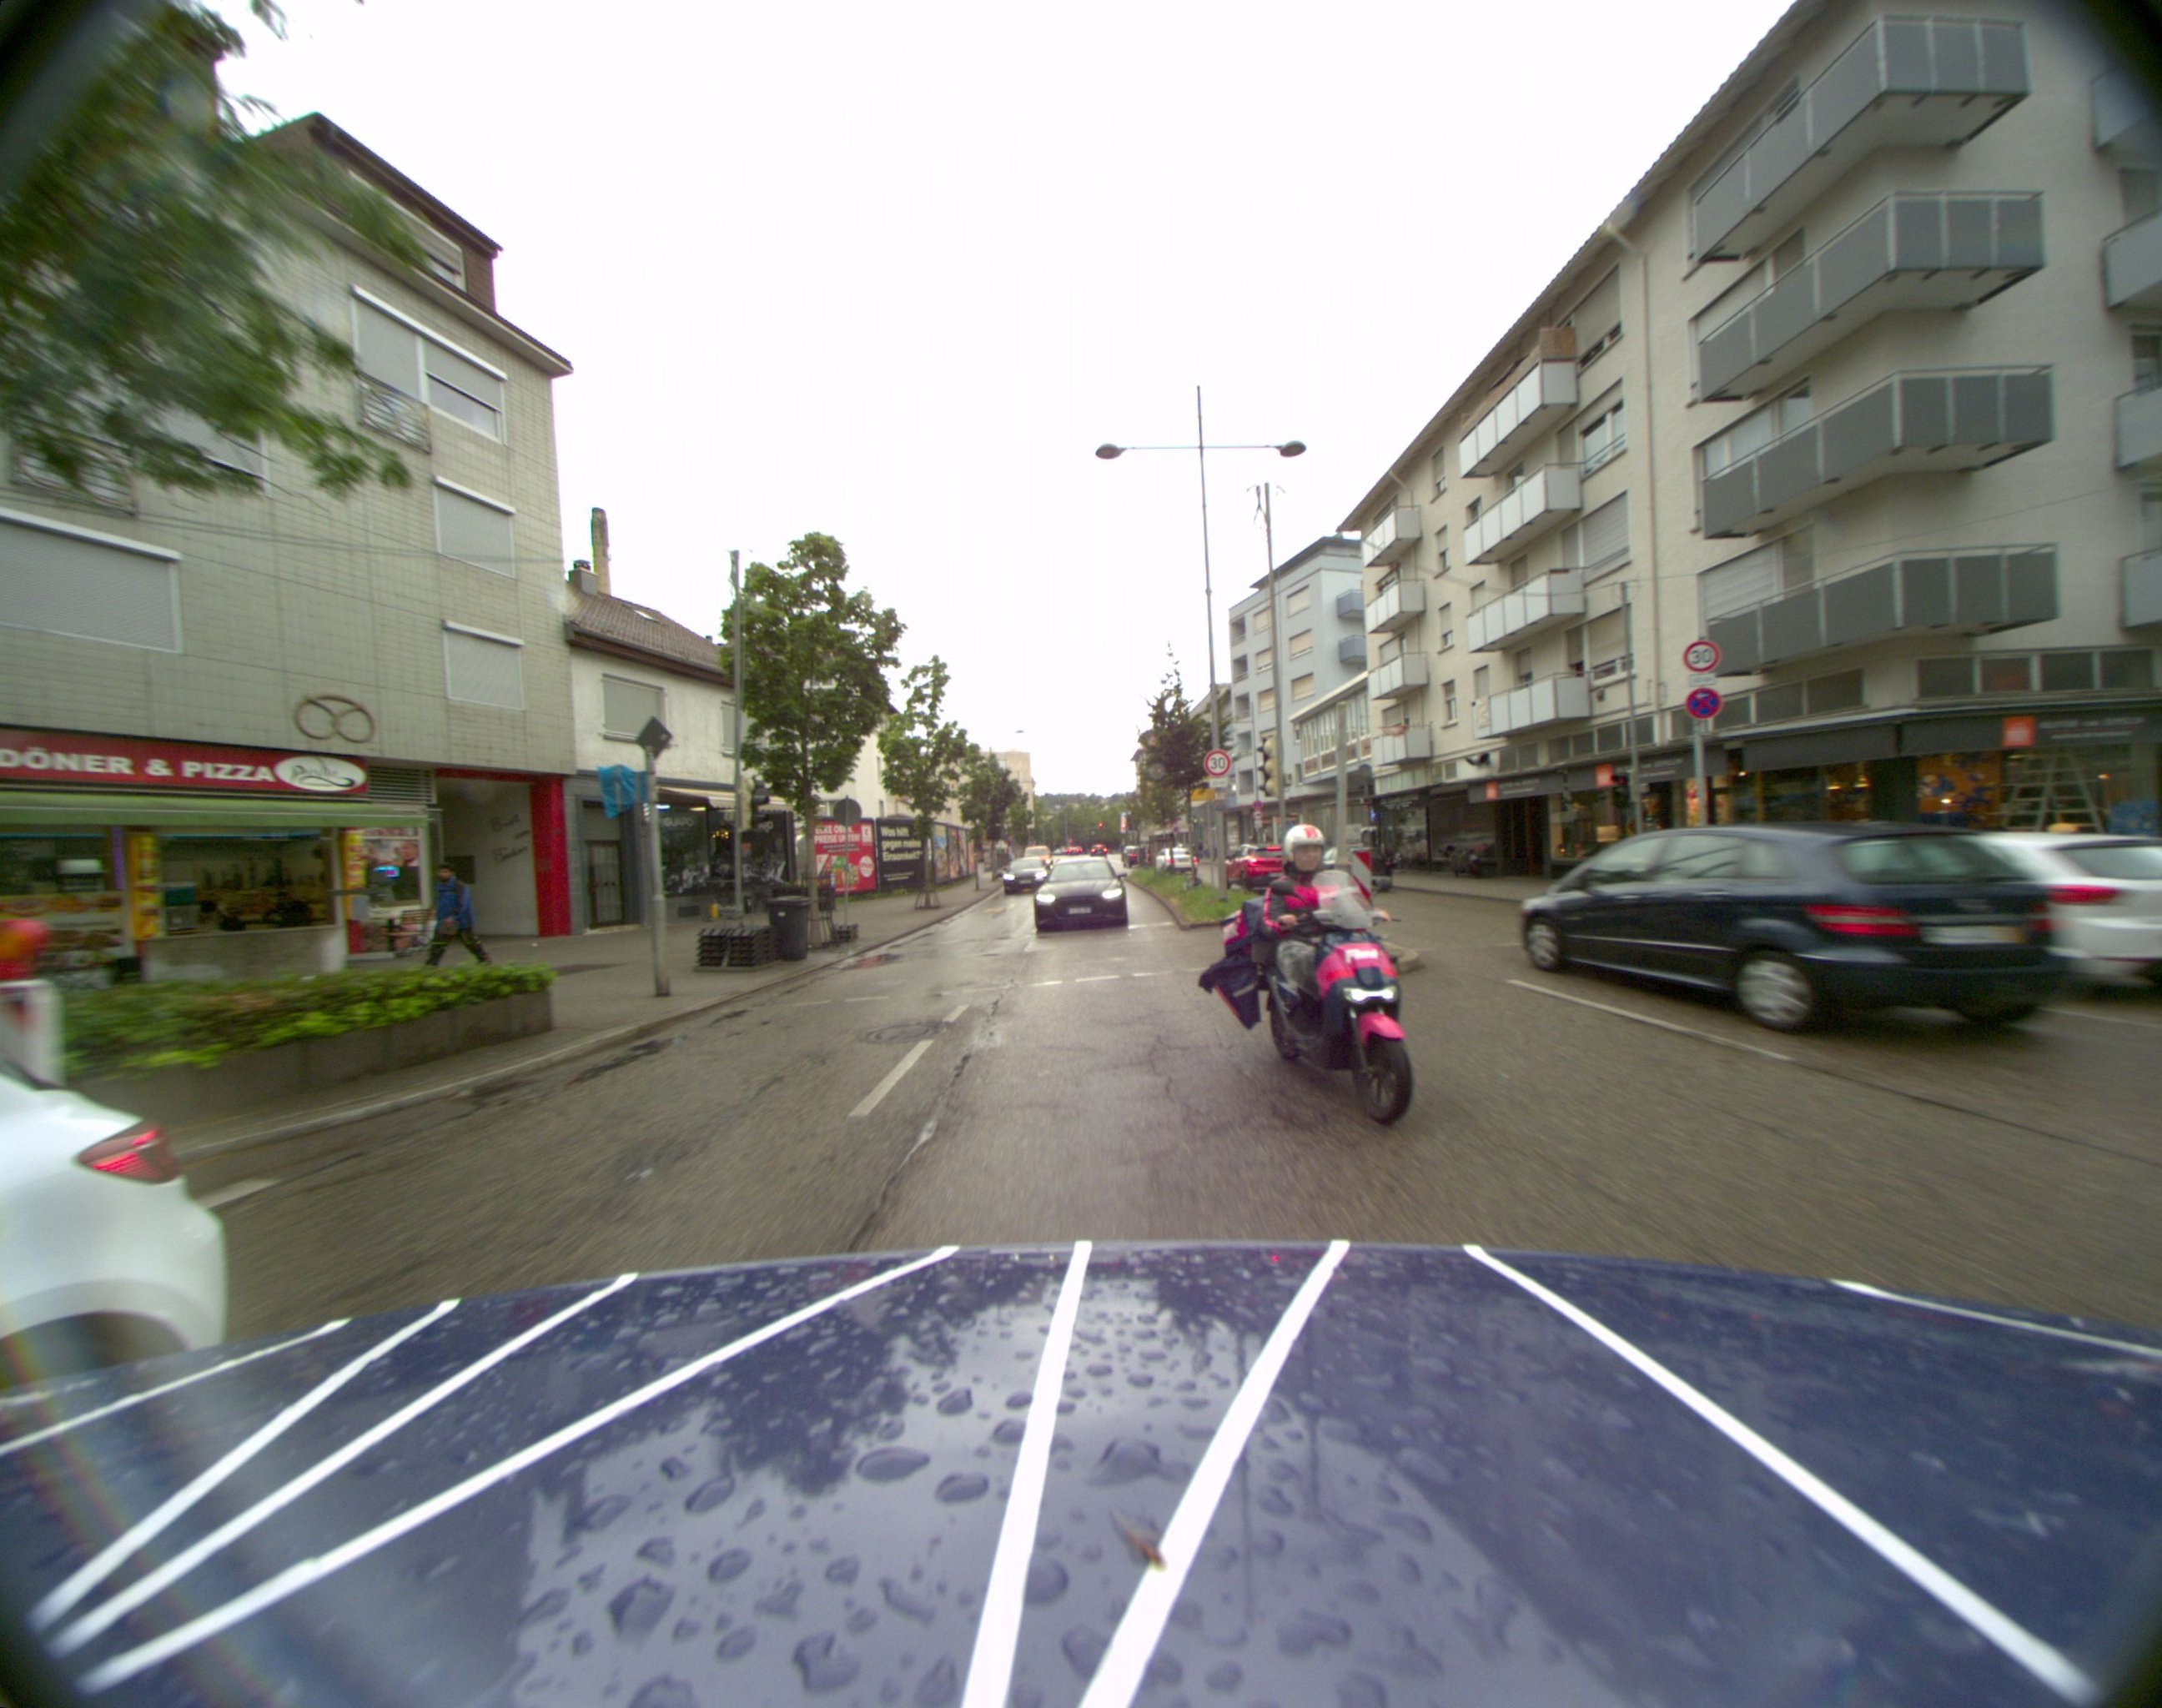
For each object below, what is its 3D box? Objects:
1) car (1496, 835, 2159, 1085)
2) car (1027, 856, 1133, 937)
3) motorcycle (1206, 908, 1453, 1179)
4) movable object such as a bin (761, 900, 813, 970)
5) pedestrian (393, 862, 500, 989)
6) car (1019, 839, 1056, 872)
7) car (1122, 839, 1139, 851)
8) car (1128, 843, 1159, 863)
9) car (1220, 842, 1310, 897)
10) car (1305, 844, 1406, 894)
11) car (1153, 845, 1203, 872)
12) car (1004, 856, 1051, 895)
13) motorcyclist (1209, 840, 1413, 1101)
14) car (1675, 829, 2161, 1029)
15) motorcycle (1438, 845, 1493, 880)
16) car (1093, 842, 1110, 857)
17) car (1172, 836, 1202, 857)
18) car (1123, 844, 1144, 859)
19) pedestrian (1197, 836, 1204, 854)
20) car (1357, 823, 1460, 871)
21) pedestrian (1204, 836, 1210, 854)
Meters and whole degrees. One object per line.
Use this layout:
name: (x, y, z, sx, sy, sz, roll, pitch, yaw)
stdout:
car: (5.945, 0.648, 6.984, 1.834, 1.534, 4.282, -2, 1, -1)
car: (0.092, 0.860, 17.839, 2.039, 1.379, 5.293, -4, 1, 2)
motorcycle: (1.450, 1.036, 4.920, 0.589, 1.184, 2.100, -4, 1, -8)
movable object such as a bin: (-4.920, 1.338, 12.741, 0.579, 1.104, 0.666, 0, 0, 5)
pedestrian: (-9.677, 1.041, 11.603, 0.968, 1.782, 0.908, 1, 3, 30)
car: (-3.066, 0.034, 54.524, 2.198, 2.074, 5.931, -3, 2, 0)
car: (6.544, -1.230, 100.477, 1.852, 1.473, 4.200, -1, 2, -1)
car: (4.446, -0.087, 54.755, 1.822, 1.433, 4.156, -1, 1, -1)
car: (5.798, 0.425, 24.449, 1.851, 1.585, 4.090, -2, 1, -1)
car: (9.000, 0.437, 25.254, 1.852, 1.488, 3.999, -1, 1, -1)
car: (5.186, 0.210, 41.283, 1.850, 1.409, 4.613, 0, 0, -4)
car: (-2.311, 0.877, 32.971, 1.812, 1.332, 4.275, -5, 1, -4)
motorcyclist: (1.451, 0.685, 4.947, 0.917, 1.485, 0.864, -4, 1, -8)
car: (8.910, 0.546, 8.053, 1.777, 1.515, 4.282, -2, 1, -2)
motorcycle: (13.178, 0.257, 26.132, 0.670, 1.081, 2.195, -5, 2, -2)
car: (2.328, -0.555, 88.467, 1.777, 1.634, 3.839, -1, 1, -2)
car: (8.551, -0.613, 61.528, 1.777, 1.580, 4.025, -1, 1, -2)
car: (5.065, -0.285, 74.158, 1.702, 1.433, 3.839, -1, 1, -1)
pedestrian: (11.146, -0.829, 70.698, 0.527, 1.679, 0.531, -1, 3, -1)
car: (15.416, -0.353, 35.901, 3.997, 2.043, 1.894, -2, 1, 0)
pedestrian: (11.709, -0.837, 70.698, 0.513, 1.679, 0.531, -1, 3, -1)
